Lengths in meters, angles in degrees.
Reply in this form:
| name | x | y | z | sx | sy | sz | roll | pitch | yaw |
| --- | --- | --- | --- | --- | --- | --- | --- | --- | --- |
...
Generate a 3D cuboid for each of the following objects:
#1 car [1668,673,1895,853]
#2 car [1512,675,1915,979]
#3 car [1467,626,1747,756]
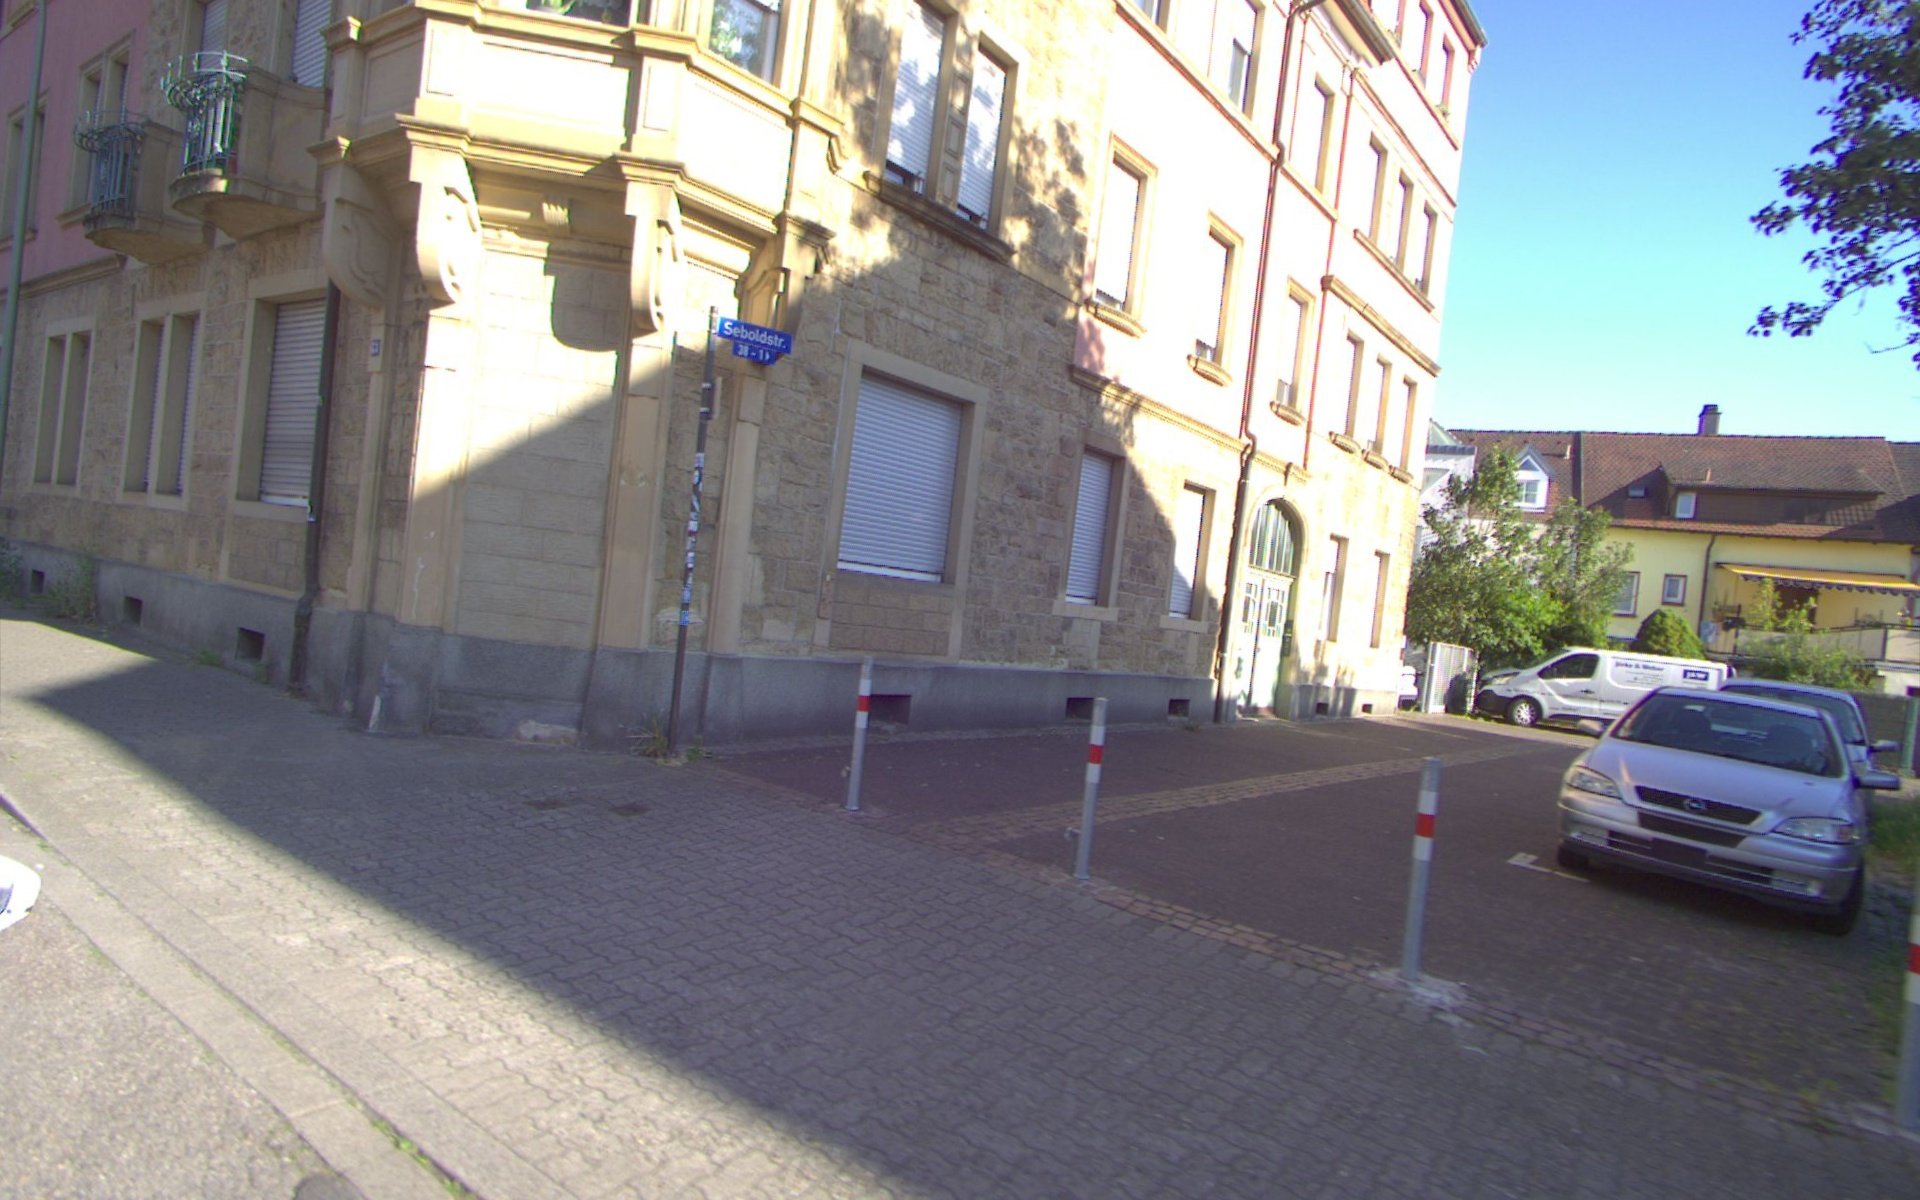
| name | x | y | z | sx | sy | sz | roll | pitch | yaw |
| --- | --- | --- | --- | --- | --- | --- | --- | --- | --- |
| car | 9.912 | 1.825 | 12.258 | 1.687 | 1.577 | 4.015 | 9 | 2 | 39 |
| car | 5.900 | 1.448 | 7.798 | 1.875 | 1.439 | 3.945 | 9 | 3 | 42 |
| car | 14.559 | 2.051 | 23.019 | 4.879 | 2.049 | 2.002 | 8 | -2 | 23 |
